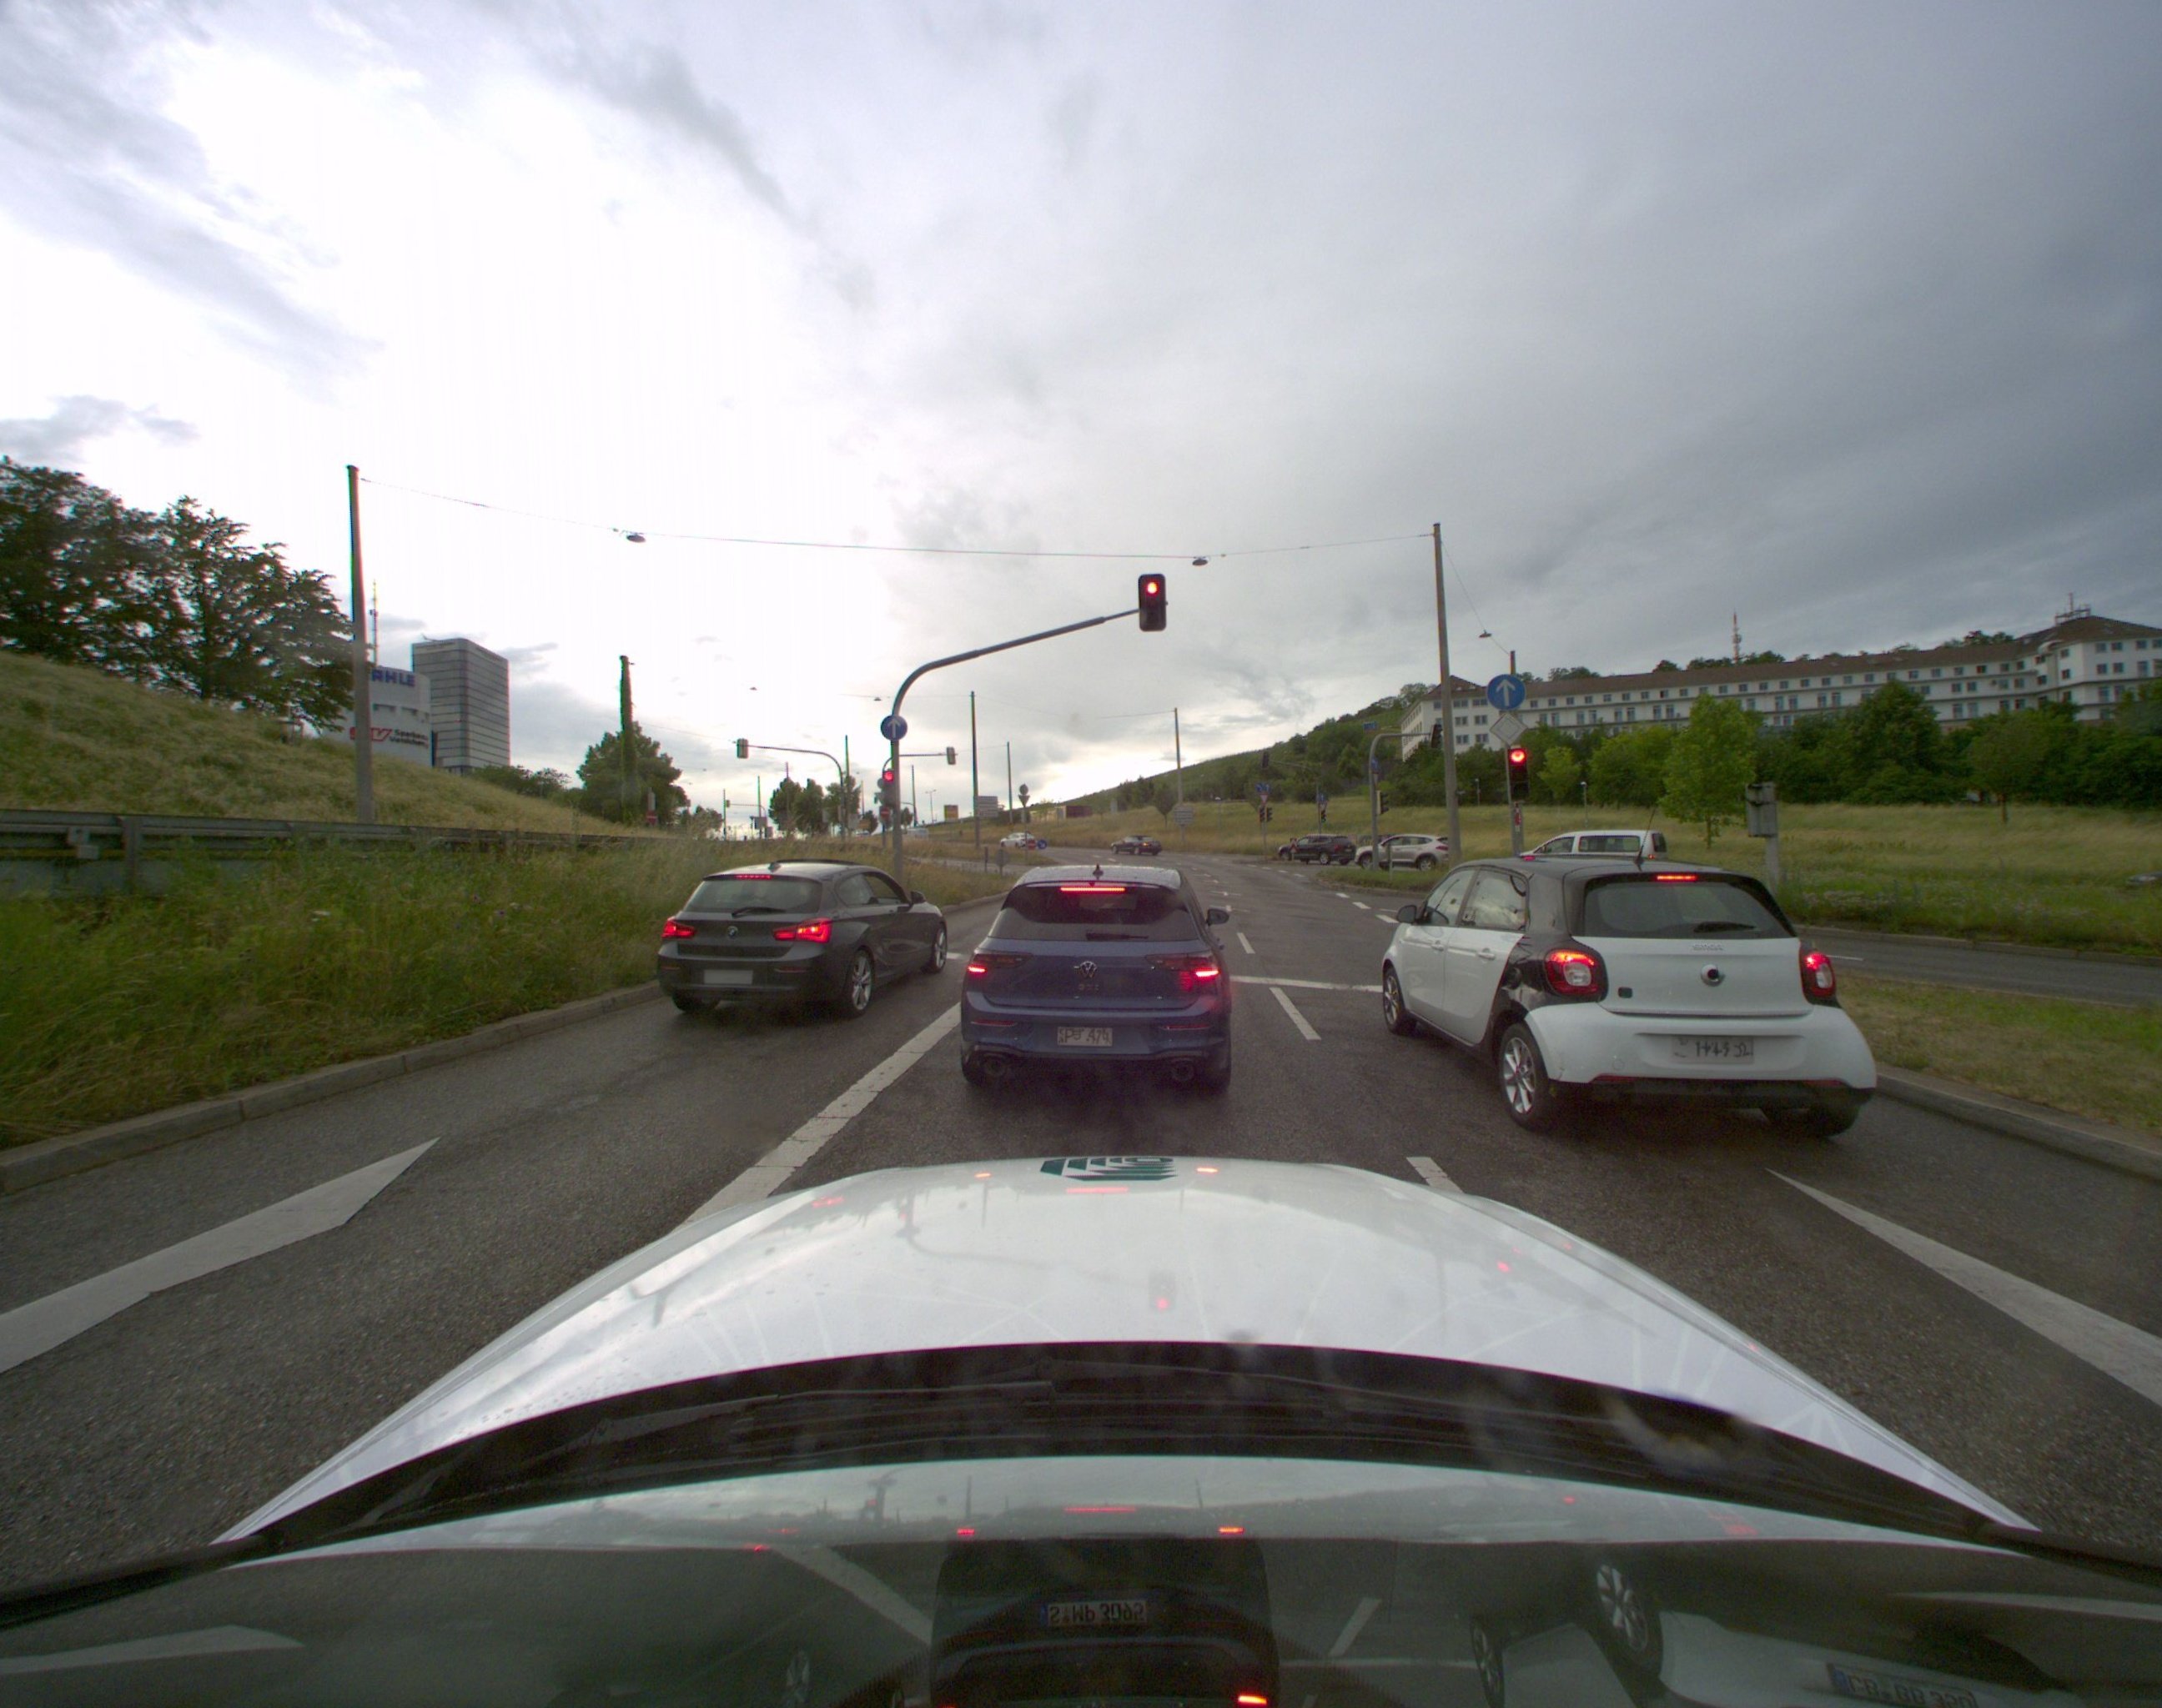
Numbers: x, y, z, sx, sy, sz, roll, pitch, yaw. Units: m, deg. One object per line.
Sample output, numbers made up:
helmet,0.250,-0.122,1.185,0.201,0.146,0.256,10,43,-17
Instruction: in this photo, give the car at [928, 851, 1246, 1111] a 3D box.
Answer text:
car,0.208,0.717,6.571,1.816,1.460,3.814,-1,0,6

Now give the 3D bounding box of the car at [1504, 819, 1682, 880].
car,16.938,-0.098,27.155,1.831,1.850,4.643,0,-1,-39

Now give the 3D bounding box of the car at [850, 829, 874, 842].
car,-31.542,-2.660,117.338,2.008,1.659,4.497,0,-1,-33

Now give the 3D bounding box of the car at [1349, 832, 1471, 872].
car,14.173,-0.060,35.279,2.010,1.620,4.472,0,-1,-39

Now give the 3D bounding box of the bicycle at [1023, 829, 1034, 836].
bicycle,-6.337,-2.611,98.190,0.522,0.775,1.604,2,0,-33

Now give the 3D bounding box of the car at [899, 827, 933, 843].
car,-19.643,-2.235,96.834,2.145,1.794,4.688,0,-1,-37

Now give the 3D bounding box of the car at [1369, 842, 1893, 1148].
car,3.341,0.724,5.805,1.649,1.503,3.456,-1,-1,6

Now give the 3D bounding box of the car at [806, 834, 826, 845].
car,-42.684,-2.368,130.997,2.008,1.659,4.308,0,-1,-33

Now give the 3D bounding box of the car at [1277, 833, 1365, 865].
car,13.237,-0.232,45.070,2.008,1.637,4.373,0,-1,-35

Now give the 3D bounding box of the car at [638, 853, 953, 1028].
car,-2.744,0.765,8.928,1.695,1.460,4.119,-1,-1,5

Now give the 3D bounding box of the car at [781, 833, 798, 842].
car,-55.947,-3.116,156.455,2.008,1.659,4.498,1,0,-33

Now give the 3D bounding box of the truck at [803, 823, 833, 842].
truck,-45.396,-3.668,140.378,3.281,3.074,6.111,2,0,-35

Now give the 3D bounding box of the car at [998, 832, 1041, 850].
car,-5.663,-1.156,74.231,2.008,1.477,4.373,0,-1,-35

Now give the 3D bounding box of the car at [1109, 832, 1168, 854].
car,4.185,-0.760,59.569,2.008,1.477,4.455,0,-1,-33

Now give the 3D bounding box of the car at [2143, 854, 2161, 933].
car,29.504,0.982,20.081,2.010,2.014,3.954,0,-1,-38
